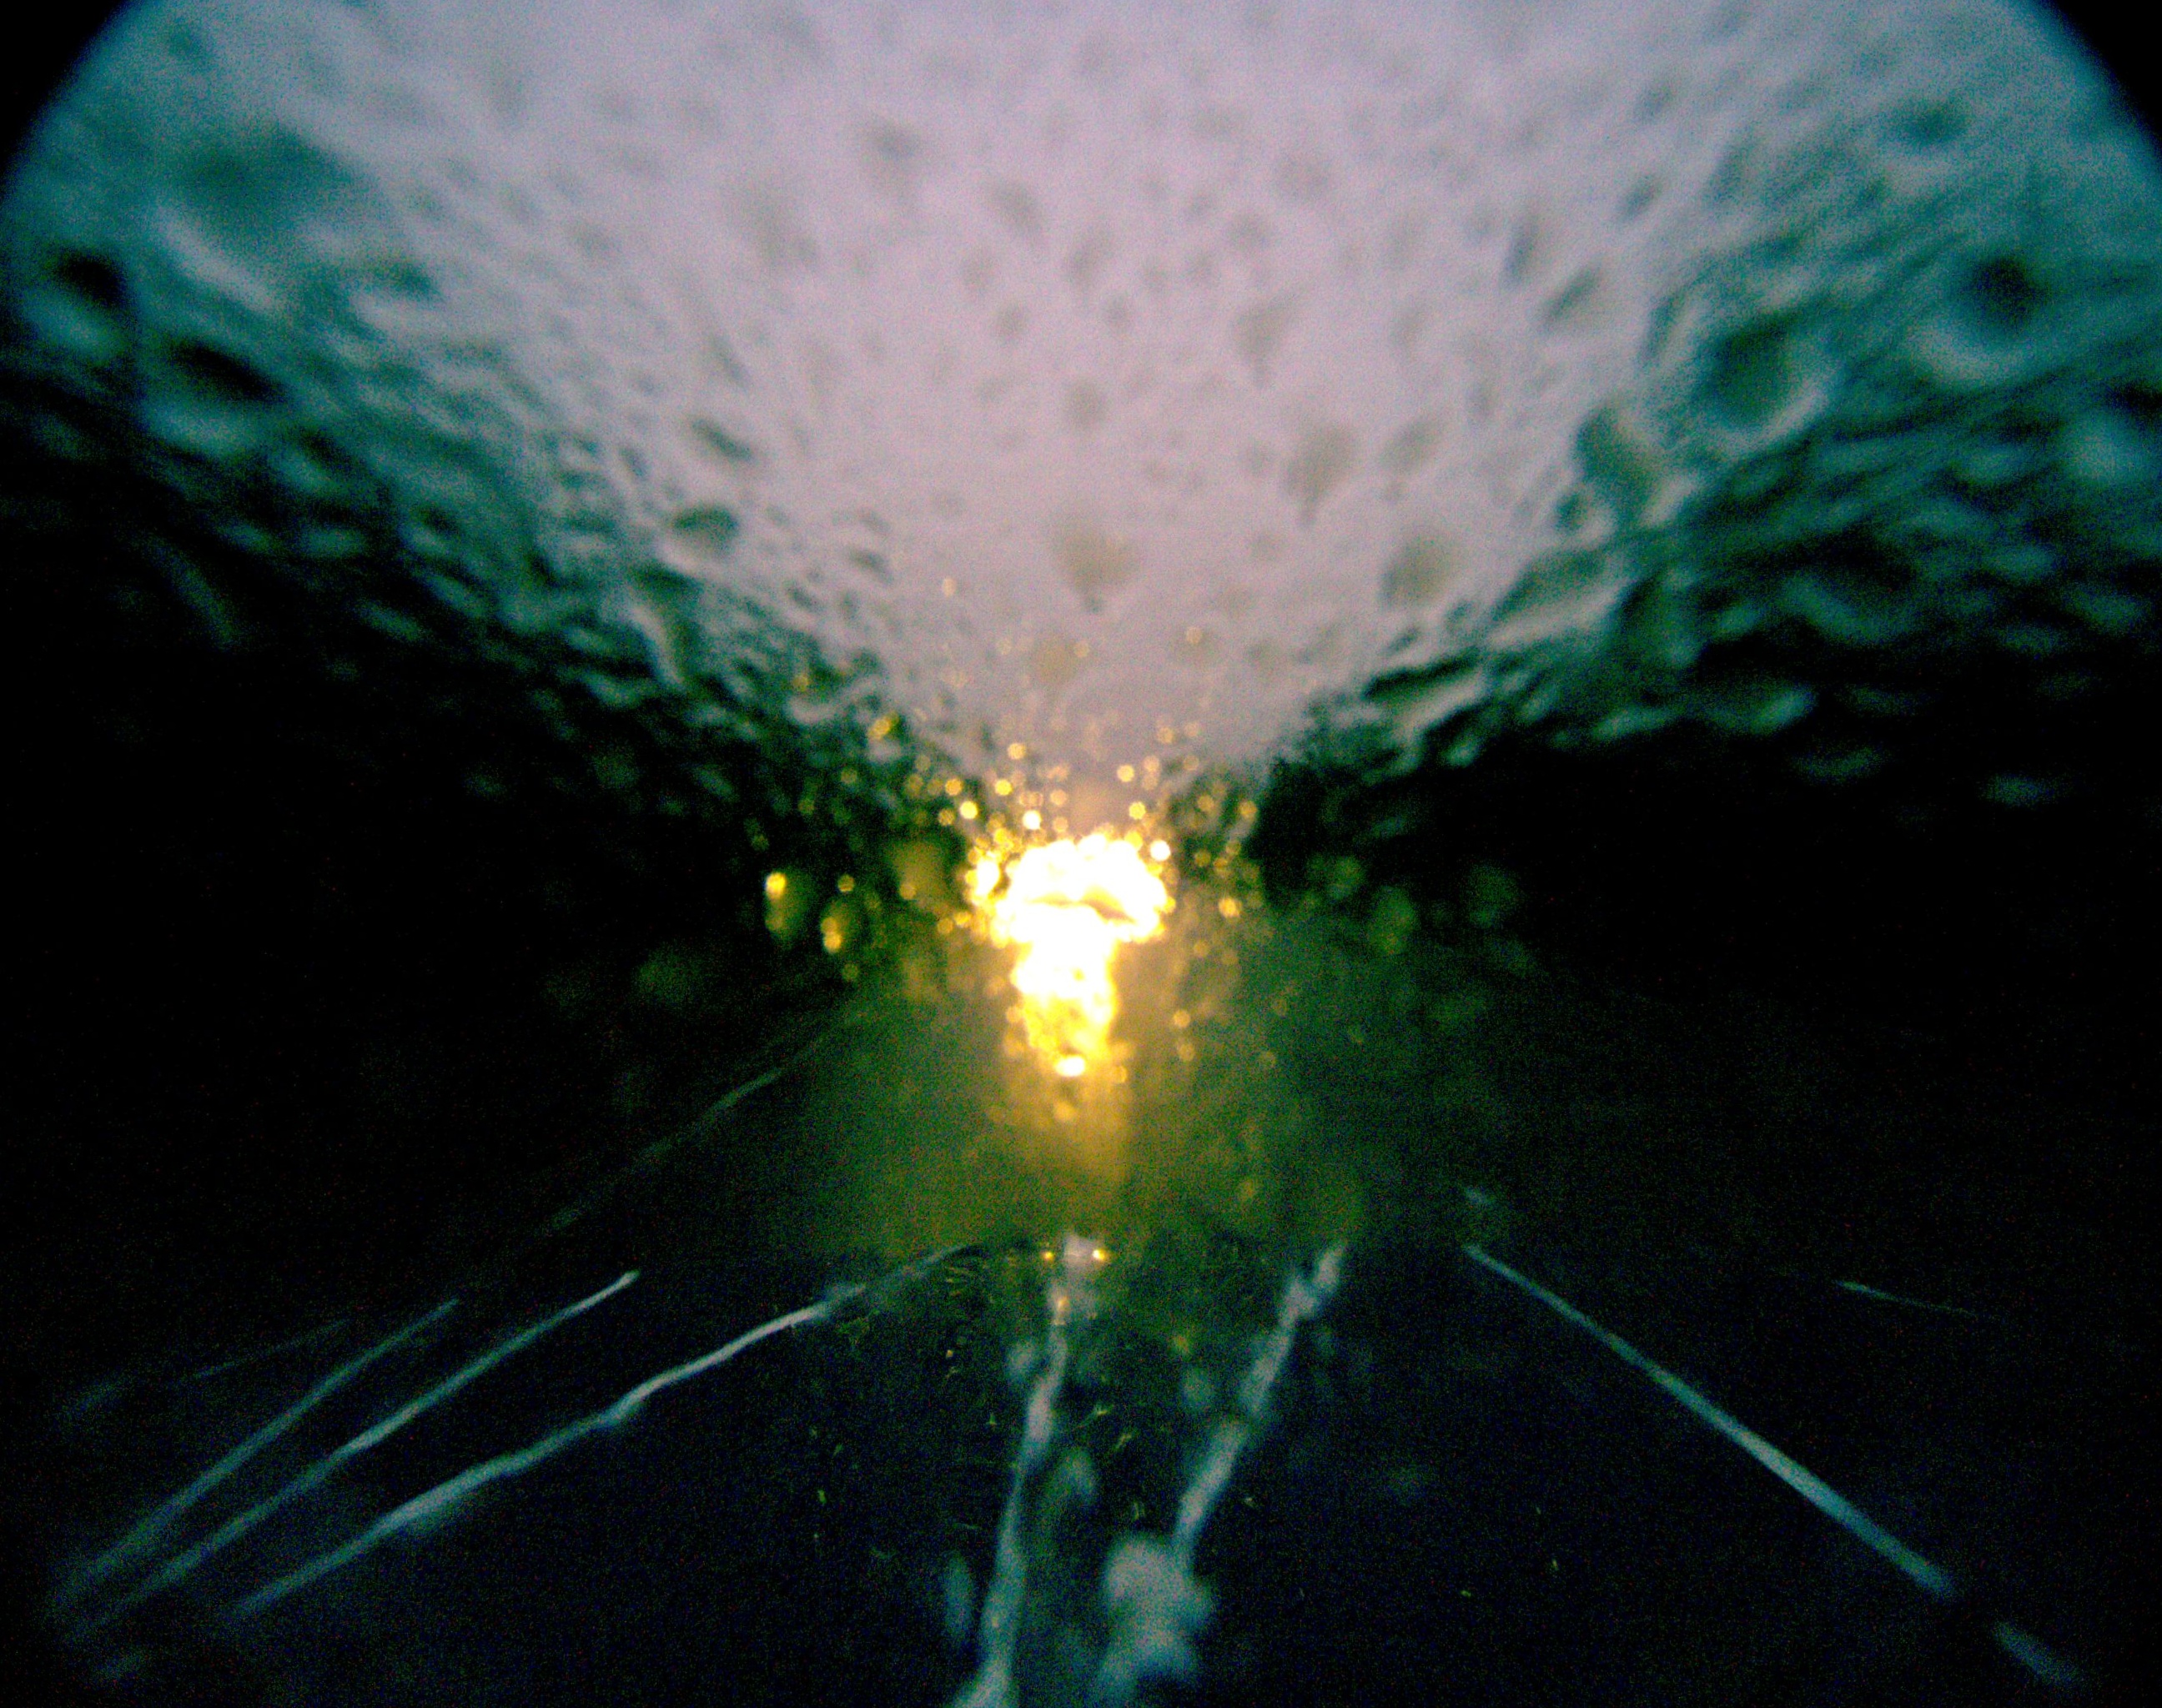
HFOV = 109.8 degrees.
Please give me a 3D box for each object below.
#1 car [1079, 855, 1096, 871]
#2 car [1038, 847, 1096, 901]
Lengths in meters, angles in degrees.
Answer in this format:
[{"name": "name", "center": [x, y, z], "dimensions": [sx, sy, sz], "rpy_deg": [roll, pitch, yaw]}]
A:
[{"name": "car", "center": [0.804, 1.012, 90.749], "dimensions": [1.998, 1.752, 4.371], "rpy_deg": [-1, 1, 1]}, {"name": "car", "center": [-0.410, 0.632, 26.620], "dimensions": [1.572, 1.701, 4.001], "rpy_deg": [-1, 1, 5]}]
